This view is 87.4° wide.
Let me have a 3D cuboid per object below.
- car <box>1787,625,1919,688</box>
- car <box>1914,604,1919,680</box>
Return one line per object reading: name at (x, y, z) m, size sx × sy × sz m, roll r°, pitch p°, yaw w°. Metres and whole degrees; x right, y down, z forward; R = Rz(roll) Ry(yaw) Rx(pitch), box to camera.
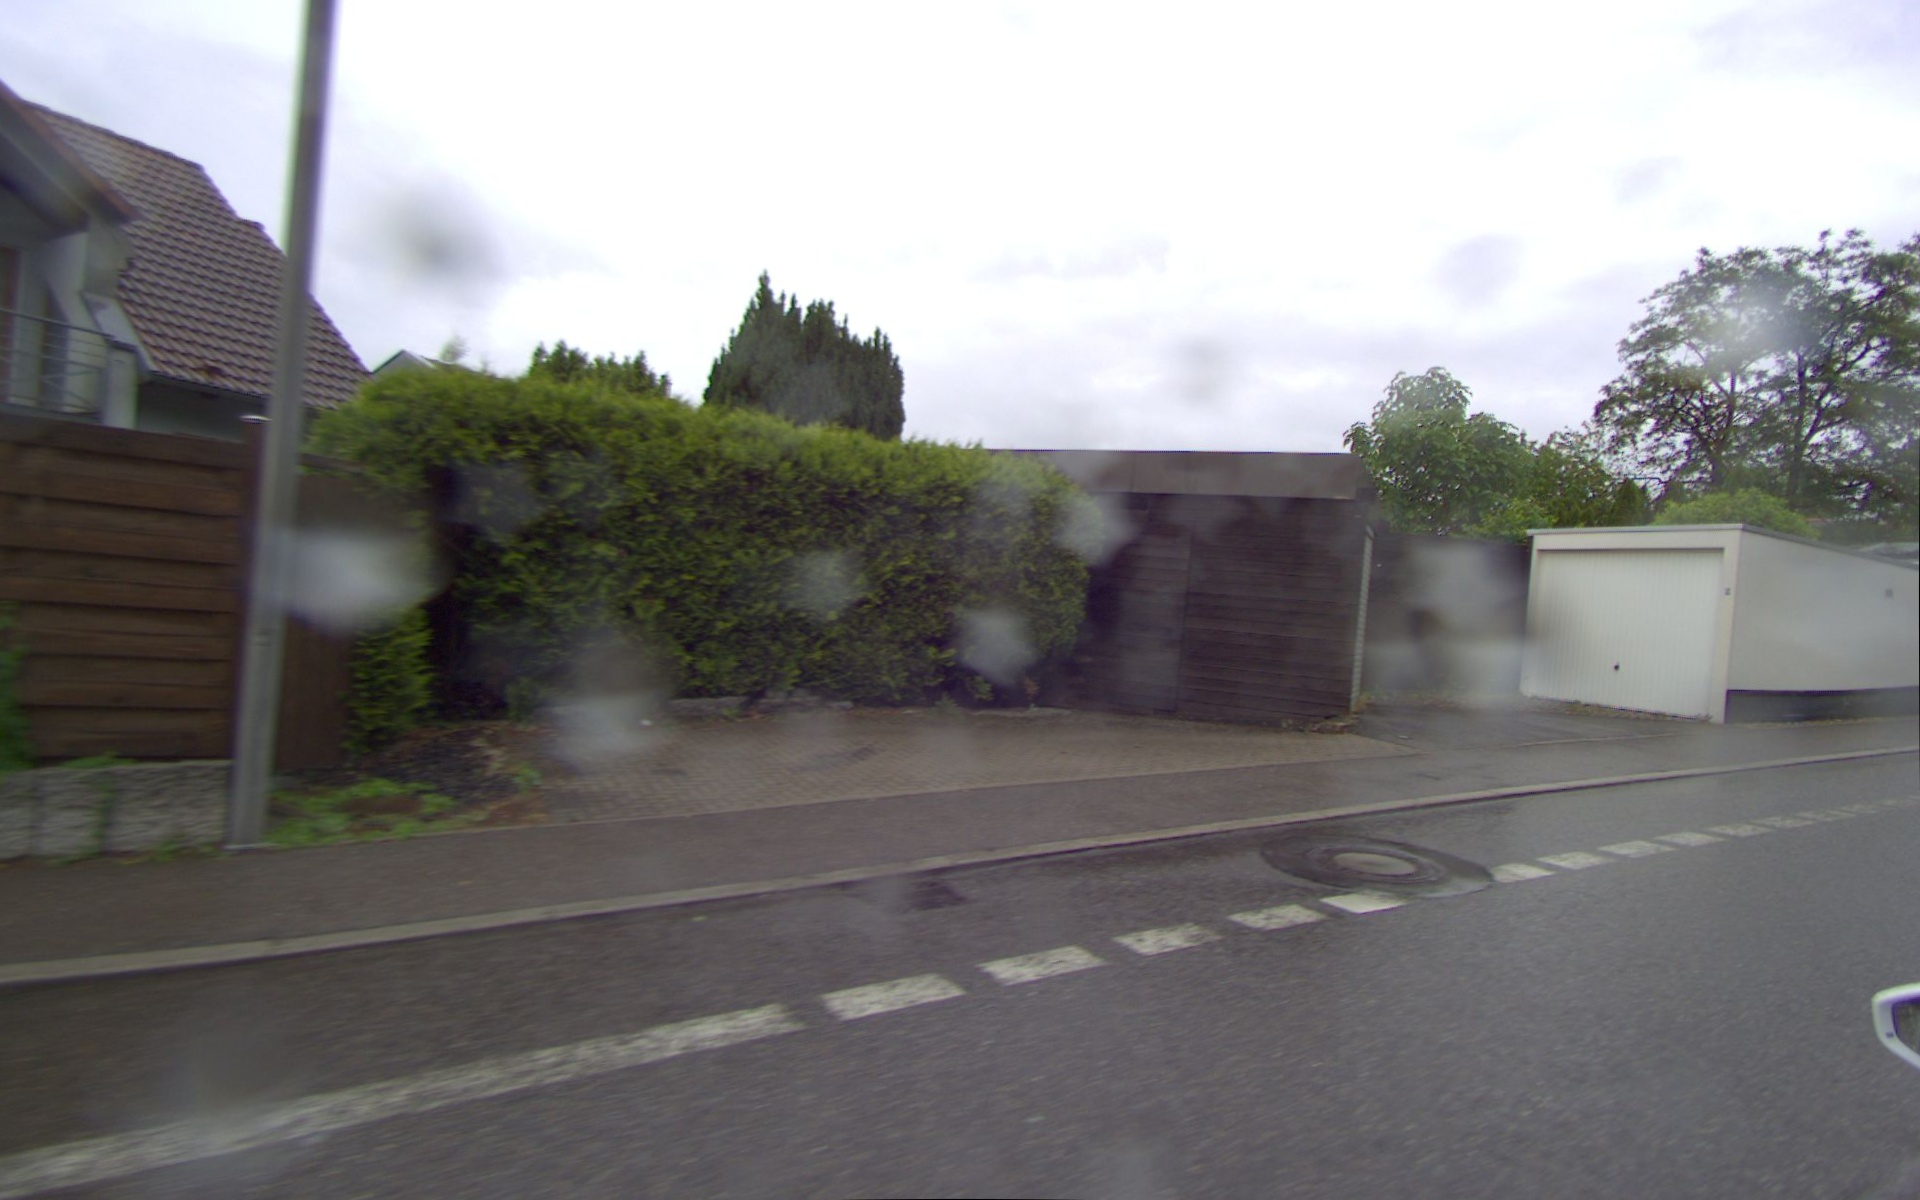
car at (21.531, 1.291, 22.728) m, size 1.769 × 1.320 × 3.979 m, roll 2°, pitch -1°, yaw -28°
car at (25.783, 1.107, 23.558) m, size 2.058 × 1.884 × 4.495 m, roll 2°, pitch 0°, yaw -21°
